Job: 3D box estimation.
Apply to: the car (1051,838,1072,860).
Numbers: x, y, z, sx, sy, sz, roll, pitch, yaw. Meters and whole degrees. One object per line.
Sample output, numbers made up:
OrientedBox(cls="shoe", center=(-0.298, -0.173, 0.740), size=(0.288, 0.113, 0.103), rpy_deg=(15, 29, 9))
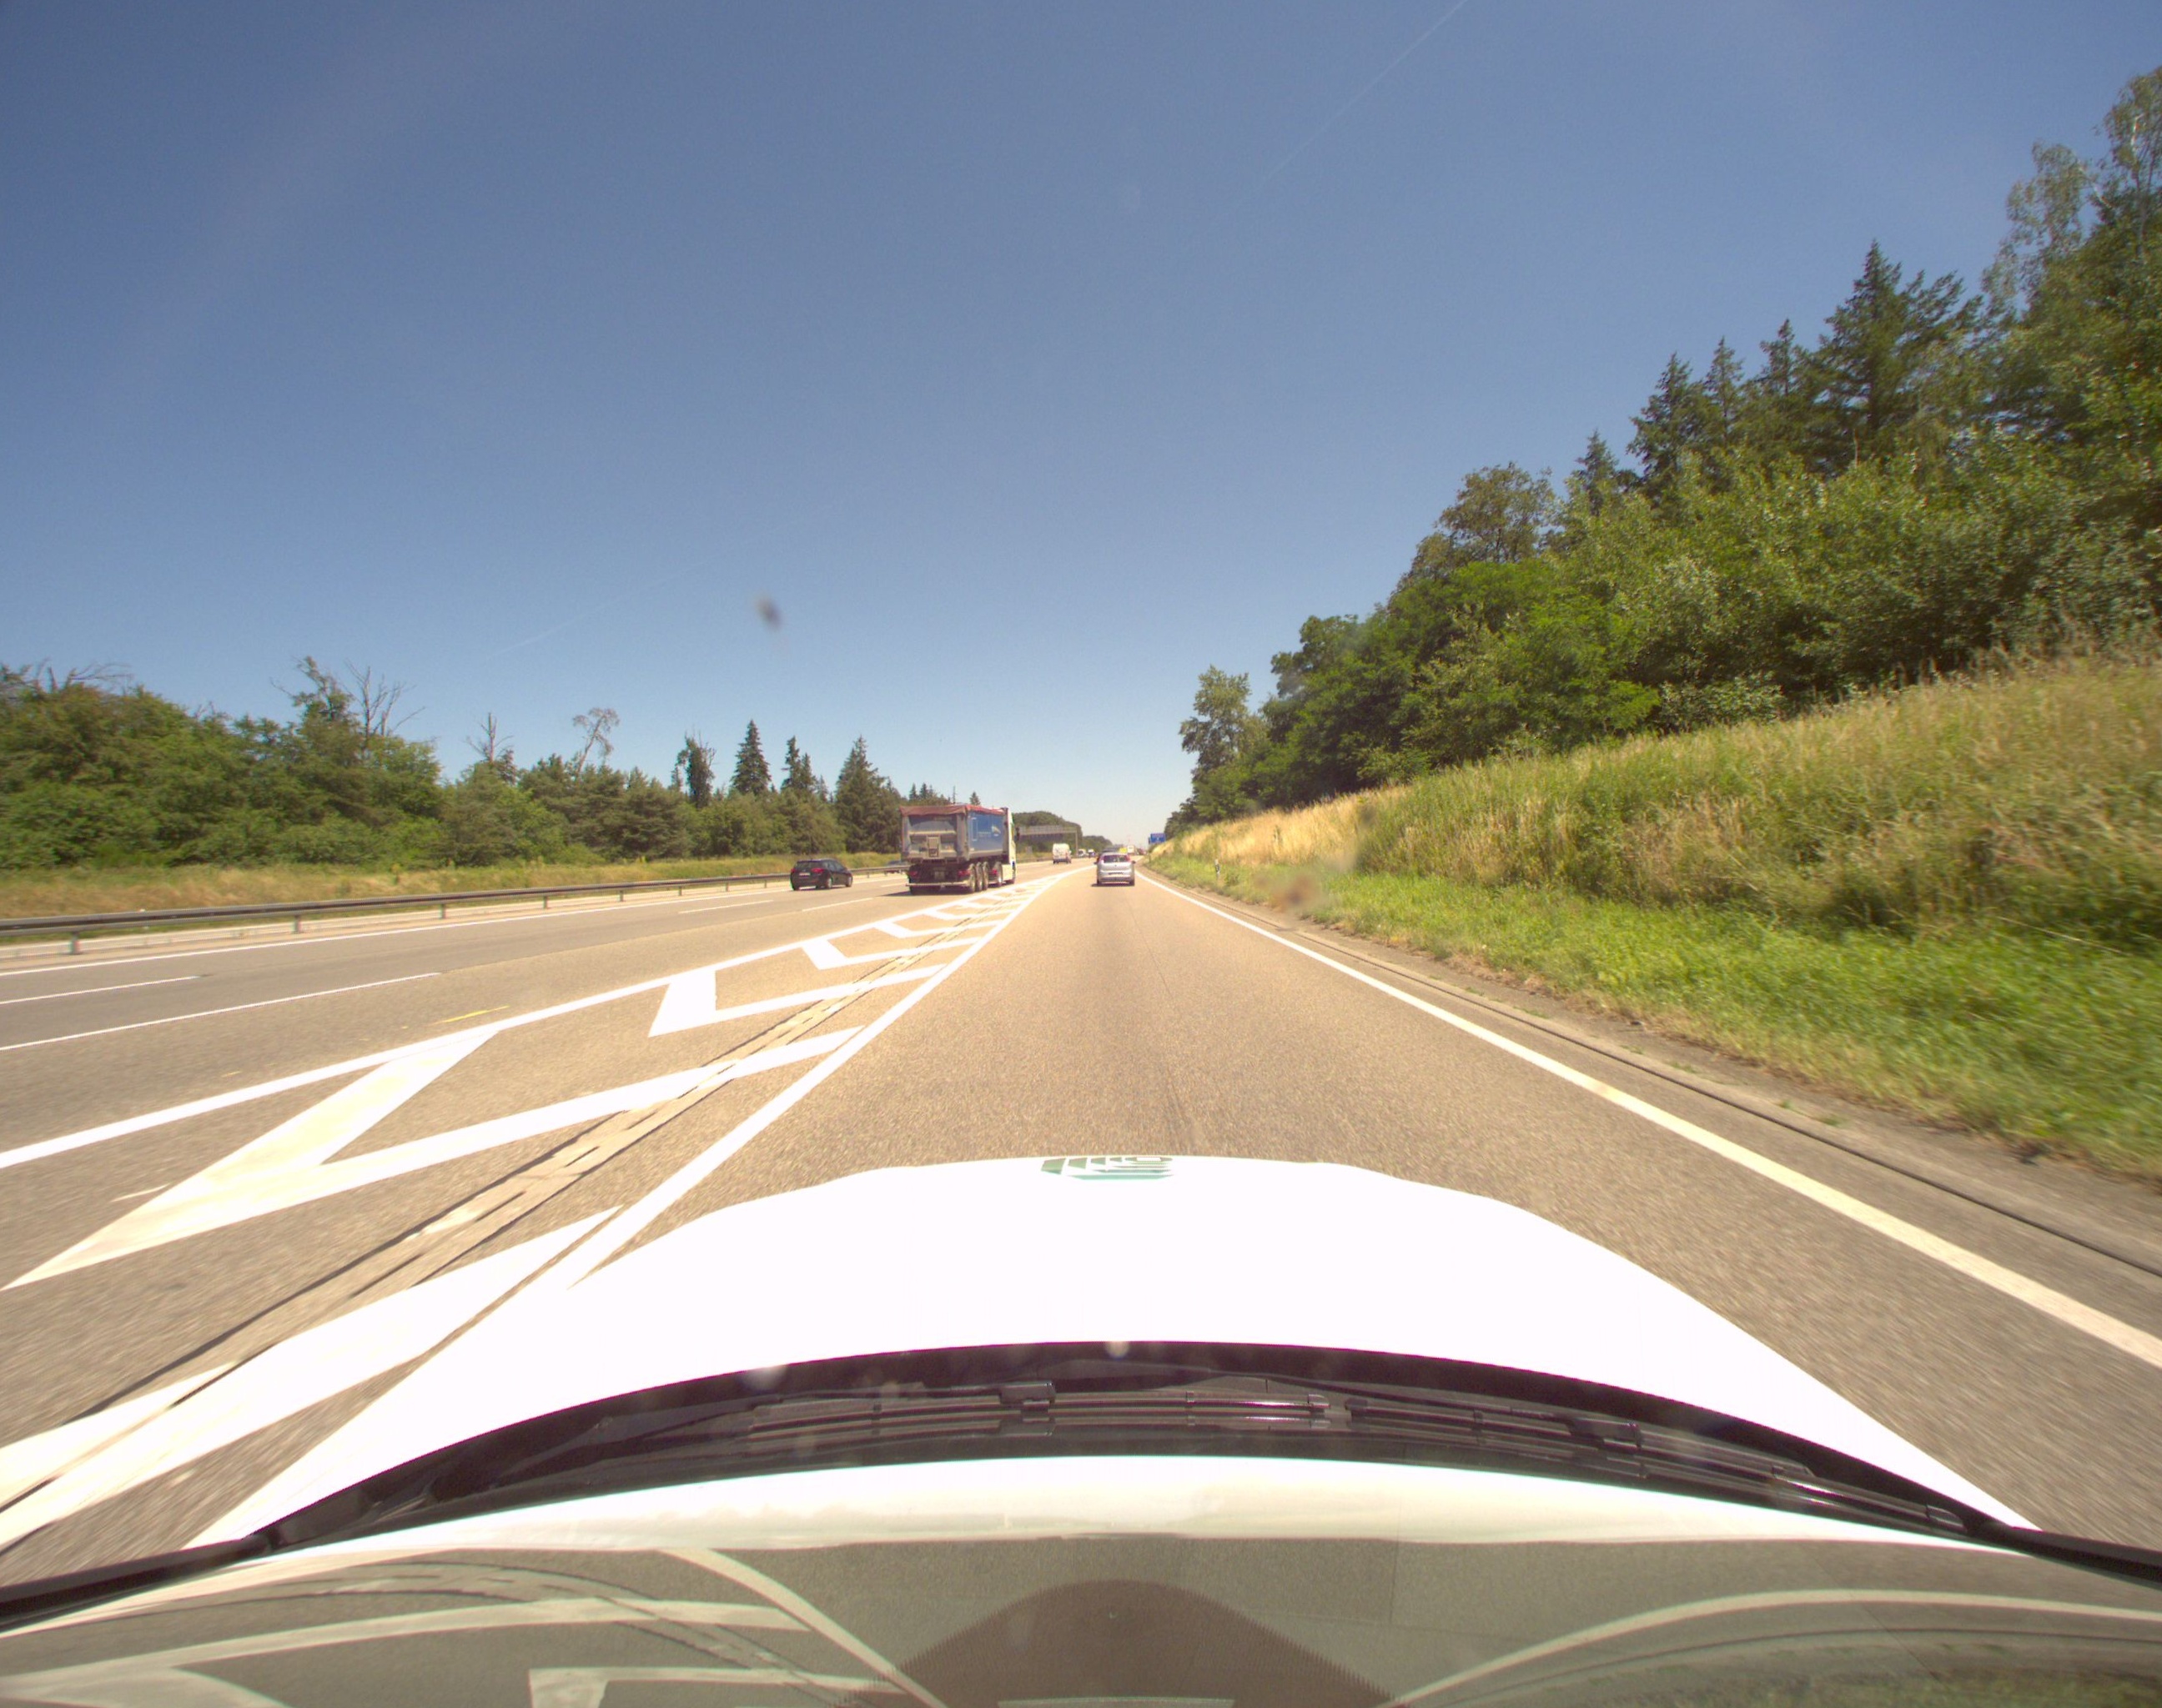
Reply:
OrientedBox(cls="car", center=(-2.679, -0.739, 113.448), size=(2.250, 2.950, 6.120), rpy_deg=(-1, 0, 4))

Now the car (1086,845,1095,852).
OrientedBox(cls="car", center=(2.491, -1.519, 221.266), size=(2.148, 1.814, 4.864), rpy_deg=(-1, 1, 3))

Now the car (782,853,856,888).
OrientedBox(cls="car", center=(-12.614, 0.736, 39.548), size=(1.695, 1.474, 4.603), rpy_deg=(-2, 1, 5))

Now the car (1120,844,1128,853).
OrientedBox(cls="car", center=(9.403, -1.235, 178.624), size=(1.604, 2.013, 4.004), rpy_deg=(-1, 0, 4))

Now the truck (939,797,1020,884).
OrientedBox(cls="truck", center=(-4.744, -0.630, 39.198), size=(2.672, 3.758, 5.951), rpy_deg=(-2, 1, 4))

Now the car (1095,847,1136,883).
OrientedBox(cls="car", center=(1.554, 0.441, 36.566), size=(1.712, 1.491, 3.740), rpy_deg=(-1, 1, 3))

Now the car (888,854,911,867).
OrientedBox(cls="car", center=(-21.203, 0.769, 95.081), size=(1.555, 1.356, 3.572), rpy_deg=(-2, 0, 5))

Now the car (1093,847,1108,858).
OrientedBox(cls="car", center=(2.731, -0.274, 113.196), size=(1.886, 1.469, 4.266), rpy_deg=(-1, 0, 3))

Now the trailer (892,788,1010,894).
OrientedBox(cls="trailer", center=(-5.121, -0.530, 34.099), size=(2.725, 3.758, 9.119), rpy_deg=(-2, 1, 4))

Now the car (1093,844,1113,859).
OrientedBox(cls="car", center=(2.460, -0.266, 90.484), size=(1.821, 1.672, 4.009), rpy_deg=(-1, 0, 8))
